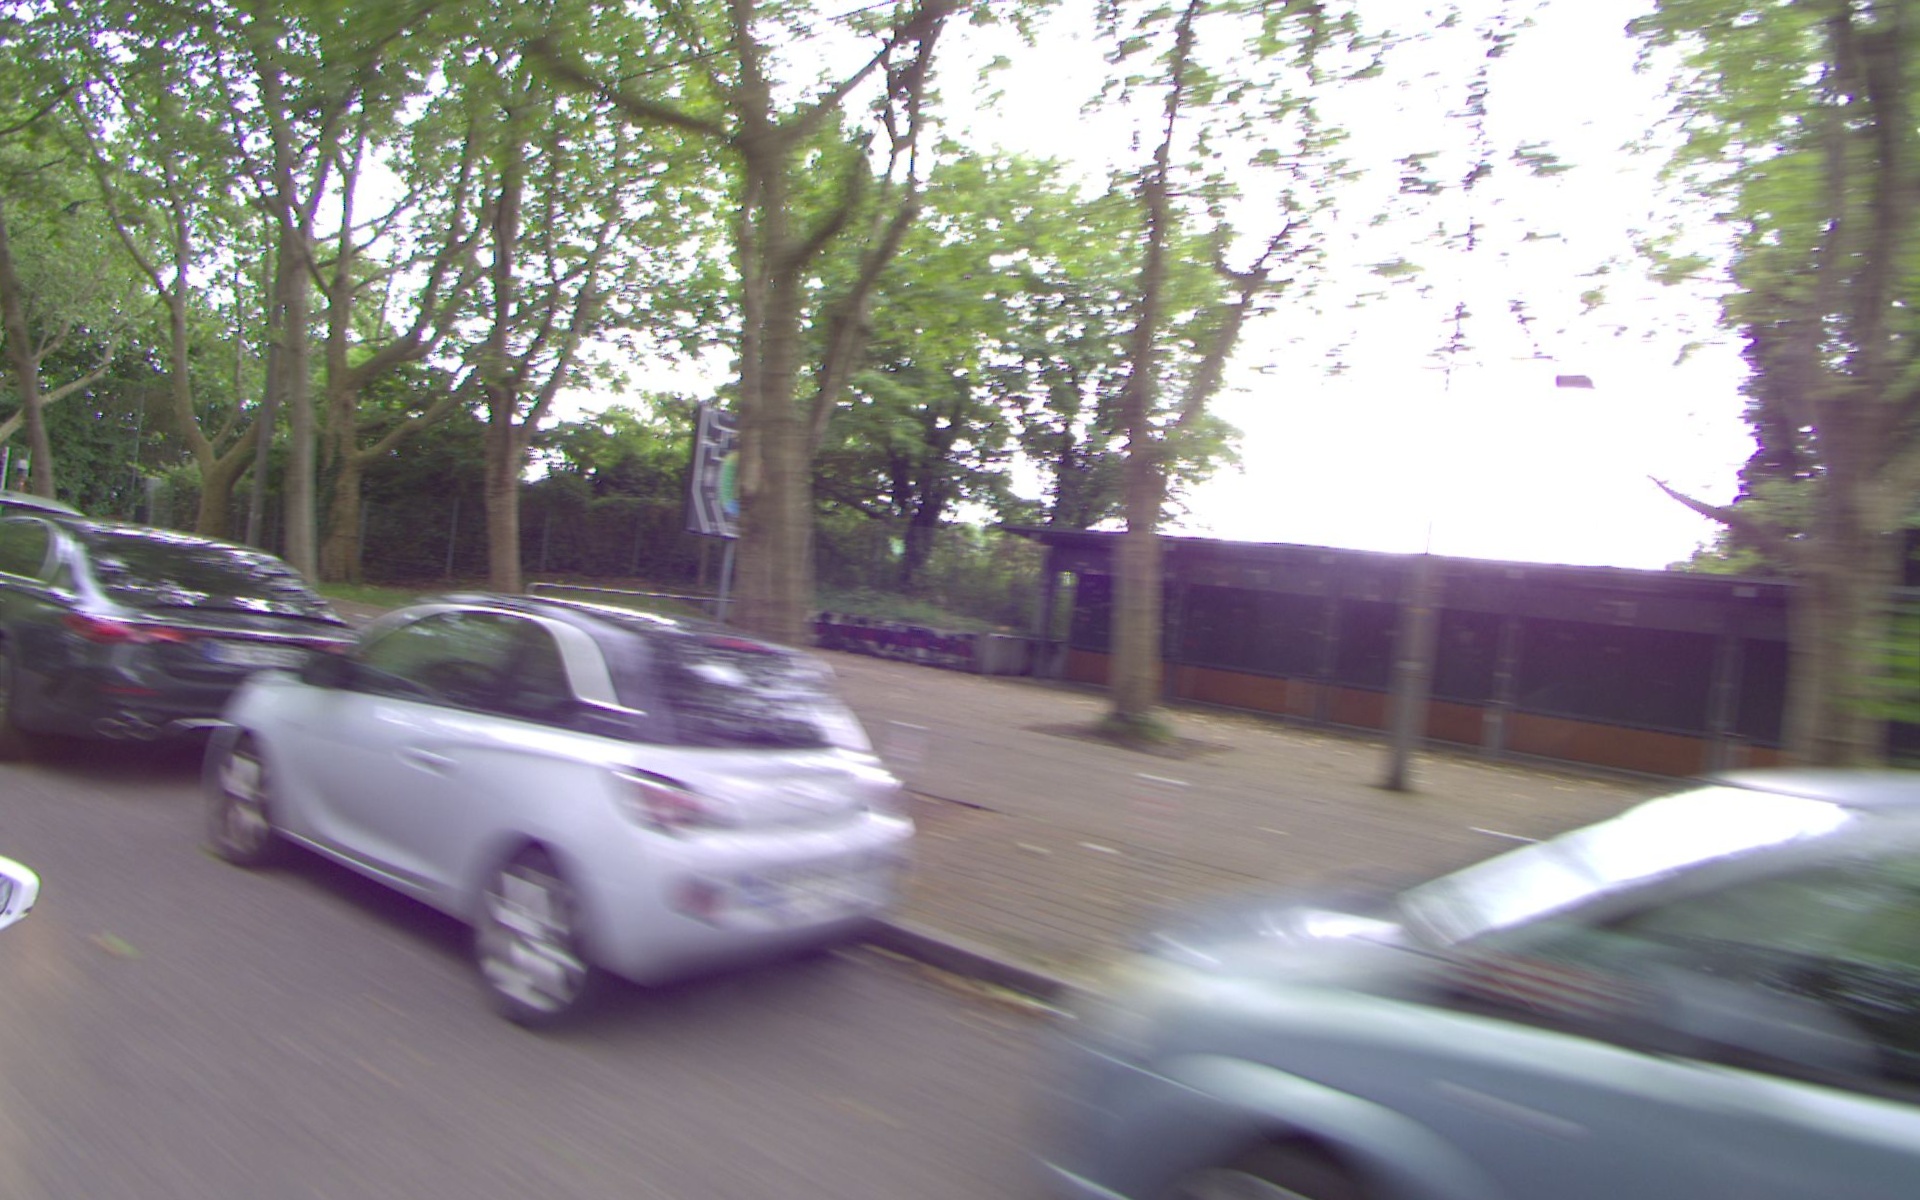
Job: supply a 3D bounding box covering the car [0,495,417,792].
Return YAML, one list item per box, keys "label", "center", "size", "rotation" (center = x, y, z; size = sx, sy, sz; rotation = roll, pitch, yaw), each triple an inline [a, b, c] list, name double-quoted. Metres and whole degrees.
- label: "car"
  center: [-6.058, 0.169, 7.153]
  size: [4.343, 1.505, 1.762]
  rotation: [7, -4, 32]

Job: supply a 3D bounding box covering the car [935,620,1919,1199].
- label: "car"
  center: [2.172, 1.166, 2.205]
  size: [4.024, 1.583, 1.725]
  rotation: [7, -4, 30]

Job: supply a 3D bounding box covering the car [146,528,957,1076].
- label: "car"
  center: [-2.068, 0.668, 4.823]
  size: [3.627, 1.505, 1.680]
  rotation: [7, -4, 34]

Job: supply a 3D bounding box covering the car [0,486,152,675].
- label: "car"
  center: [-10.079, -0.372, 10.067]
  size: [3.864, 1.614, 1.760]
  rotation: [7, -3, 32]
